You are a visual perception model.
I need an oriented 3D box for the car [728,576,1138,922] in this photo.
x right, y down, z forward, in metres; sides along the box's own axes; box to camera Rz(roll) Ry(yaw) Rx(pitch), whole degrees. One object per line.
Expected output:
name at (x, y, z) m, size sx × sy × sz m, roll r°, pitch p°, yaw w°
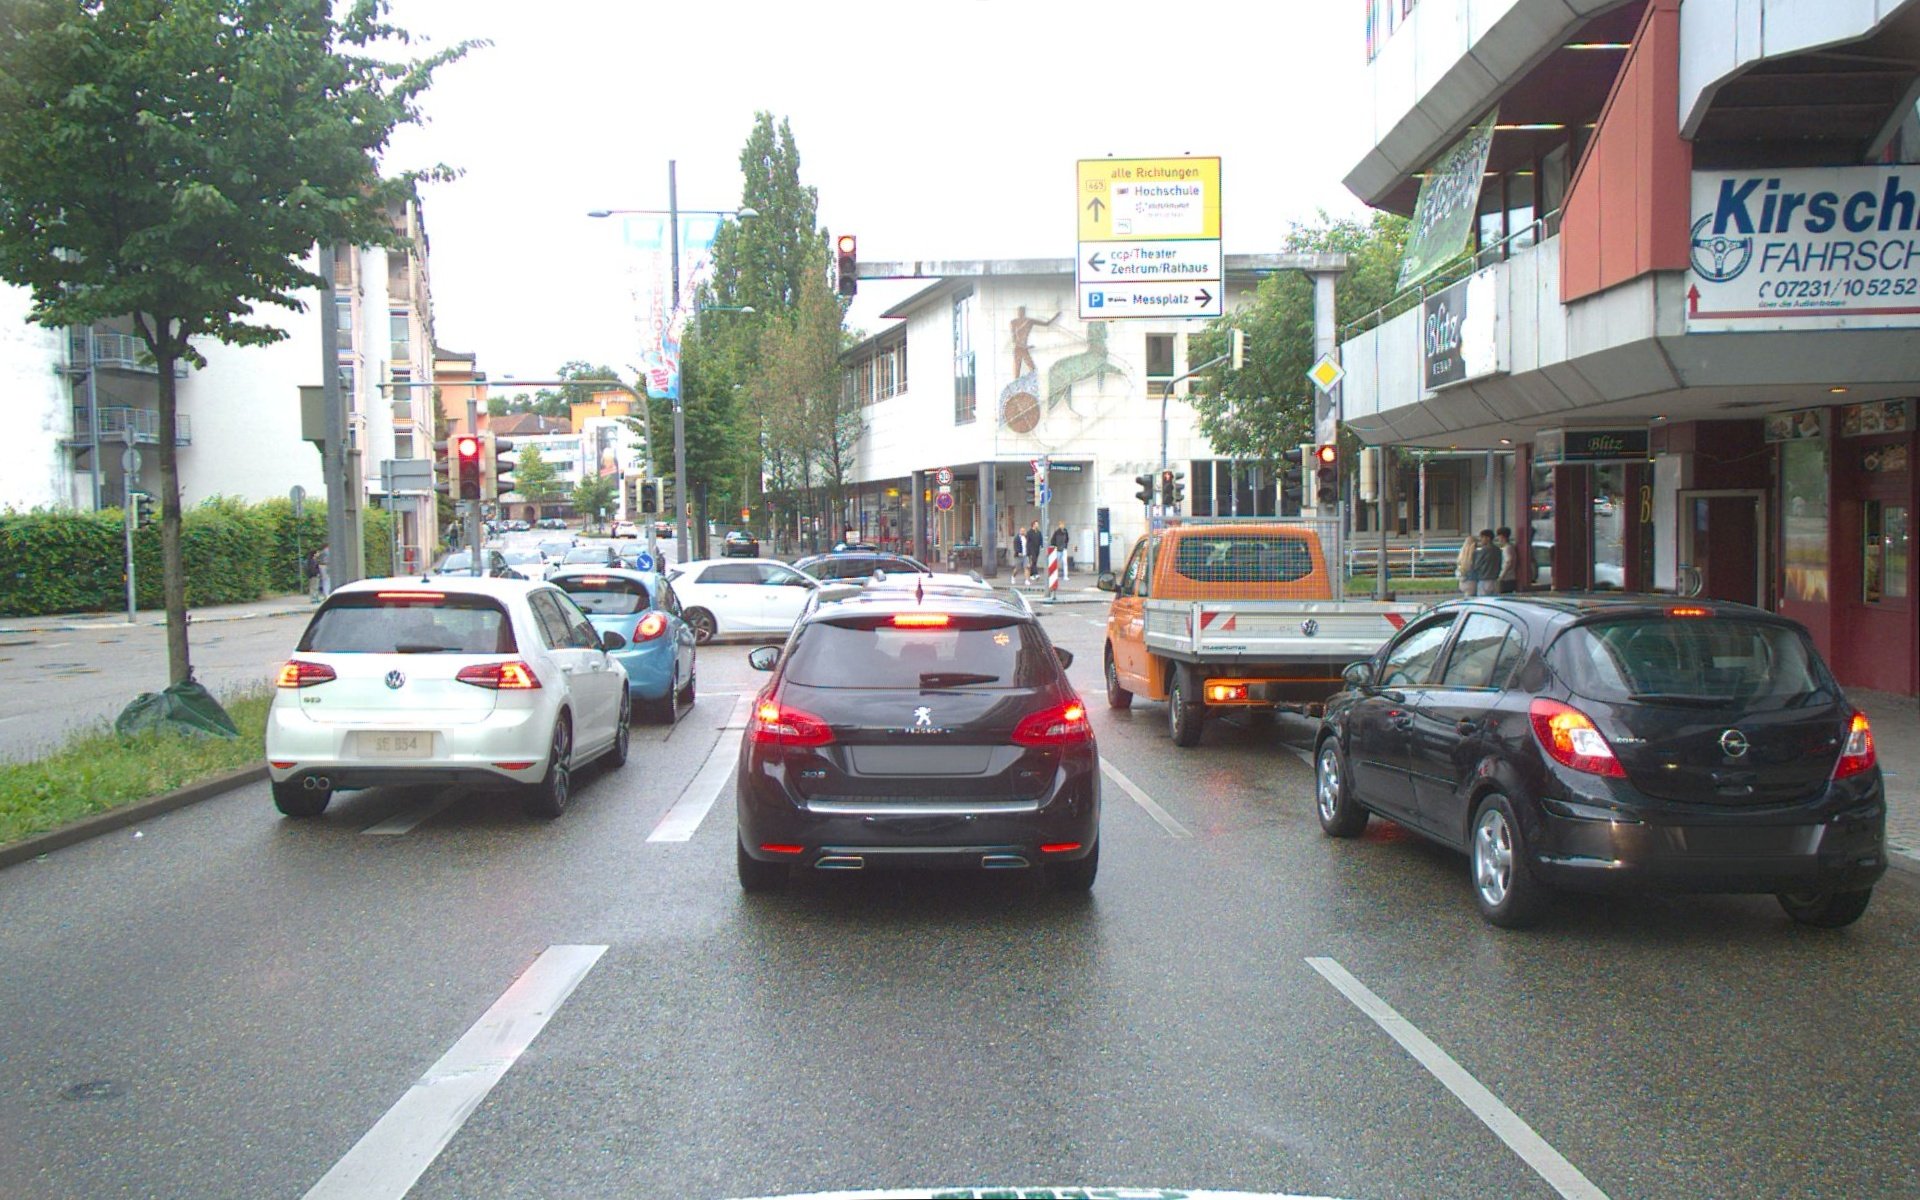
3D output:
car at (-0.198, 0.618, 8.992) m, size 1.742 × 1.454 × 3.840 m, roll 1°, pitch 1°, yaw -3°

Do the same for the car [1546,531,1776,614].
car at (14.447, -0.582, 34.159) m, size 4.152 × 1.592 × 1.700 m, roll -1°, pitch 1°, yaw -12°

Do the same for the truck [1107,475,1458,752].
truck at (2.829, 0.044, 15.841) m, size 2.133 × 2.210 × 5.018 m, roll 1°, pitch 2°, yaw -3°

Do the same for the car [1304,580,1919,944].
car at (3.116, 0.646, 8.691) m, size 1.584 × 1.454 × 3.839 m, roll 1°, pitch 1°, yaw -4°

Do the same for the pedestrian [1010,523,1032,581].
pedestrian at (1.923, -1.499, 51.860) m, size 0.623 × 1.788 × 0.734 m, roll 1°, pitch -1°, yaw 6°

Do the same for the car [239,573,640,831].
car at (-3.343, 0.560, 11.379) m, size 1.742 × 1.454 × 3.839 m, roll 1°, pitch 1°, yaw -4°

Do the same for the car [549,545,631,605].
car at (-10.631, -0.689, 47.747) m, size 1.710 × 1.607 × 3.996 m, roll 1°, pitch -1°, yaw -4°

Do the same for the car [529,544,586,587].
car at (-14.828, -1.276, 61.114) m, size 1.602 × 1.512 × 3.605 m, roll 1°, pitch 2°, yaw -7°

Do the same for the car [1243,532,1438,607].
car at (8.230, -0.638, 35.867) m, size 3.828 × 1.512 × 1.618 m, roll 1°, pitch -1°, yaw -13°

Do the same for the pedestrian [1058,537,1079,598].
pedestrian at (3.479, -1.034, 53.106) m, size 0.623 × 1.930 × 0.734 m, roll 1°, pitch -1°, yaw 6°

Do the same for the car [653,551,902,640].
car at (-3.253, -0.084, 29.286) m, size 4.219 × 1.512 × 1.633 m, roll 0°, pitch 1°, yaw -14°

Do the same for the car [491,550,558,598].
car at (-14.124, -0.864, 53.783) m, size 1.602 × 1.512 × 3.605 m, roll 1°, pitch 2°, yaw -7°

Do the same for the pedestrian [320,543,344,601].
pedestrian at (-19.498, -0.873, 51.335) m, size 0.528 × 1.778 × 0.564 m, roll 1°, pitch -1°, yaw -6°

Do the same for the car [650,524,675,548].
car at (-26.445, -5.660, 146.919) m, size 1.679 × 1.970 × 3.980 m, roll 1°, pitch -1°, yaw -18°

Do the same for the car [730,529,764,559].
car at (-12.466, -3.253, 96.690) m, size 1.694 × 1.516 × 4.720 m, roll 1°, pitch -1°, yaw -10°

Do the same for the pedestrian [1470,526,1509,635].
pedestrian at (8.445, -0.301, 26.392) m, size 0.417 × 1.712 × 0.450 m, roll -1°, pitch -1°, yaw -2°

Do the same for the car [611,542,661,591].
car at (-11.981, -1.199, 61.176) m, size 1.713 × 1.669 × 3.989 m, roll 1°, pitch -1°, yaw -11°

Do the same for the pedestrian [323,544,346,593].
pedestrian at (-21.024, -1.050, 55.594) m, size 0.569 × 1.627 × 0.526 m, roll 1°, pitch -1°, yaw -7°

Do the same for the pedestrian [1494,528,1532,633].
pedestrian at (8.949, -0.309, 26.777) m, size 0.388 × 1.668 × 0.504 m, roll -1°, pitch -1°, yaw 0°

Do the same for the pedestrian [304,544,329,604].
pedestrian at (-19.355, -0.782, 49.766) m, size 0.529 × 1.778 × 0.746 m, roll 1°, pitch -1°, yaw -9°

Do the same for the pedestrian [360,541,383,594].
pedestrian at (-20.008, -1.099, 56.232) m, size 0.584 × 1.758 × 0.655 m, roll 1°, pitch -1°, yaw -9°

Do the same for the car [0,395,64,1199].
car at (-3.038, 0.447, 1.420) m, size 1.873 × 1.903 × 5.071 m, roll 1°, pitch -1°, yaw -2°

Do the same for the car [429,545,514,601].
car at (-13.817, -0.787, 46.964) m, size 1.543 × 1.512 × 3.607 m, roll 1°, pitch 2°, yaw -4°

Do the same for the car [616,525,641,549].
car at (-29.190, -5.552, 145.622) m, size 1.679 × 1.915 × 3.980 m, roll 1°, pitch -1°, yaw -18°

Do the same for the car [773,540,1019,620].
car at (-1.277, -0.400, 32.955) m, size 4.649 × 1.512 × 1.630 m, roll 0°, pitch 1°, yaw -18°

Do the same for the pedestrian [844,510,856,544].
pedestrian at (-5.865, -3.860, 87.937) m, size 0.461 × 1.778 × 0.537 m, roll 1°, pitch -1°, yaw -21°

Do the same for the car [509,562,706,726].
car at (-3.589, 0.376, 17.355) m, size 1.601 × 1.512 × 3.606 m, roll 1°, pitch 2°, yaw -6°

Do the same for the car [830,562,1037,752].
car at (-0.247, 0.419, 15.328) m, size 1.662 × 1.512 × 3.793 m, roll 1°, pitch 2°, yaw -1°

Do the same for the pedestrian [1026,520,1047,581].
pedestrian at (2.474, -1.599, 53.203) m, size 0.623 × 1.930 × 0.734 m, roll 1°, pitch -1°, yaw 6°

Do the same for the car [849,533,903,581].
car at (-2.914, -1.528, 57.318) m, size 1.752 × 1.479 × 4.505 m, roll -3°, pitch 3°, yaw -3°
